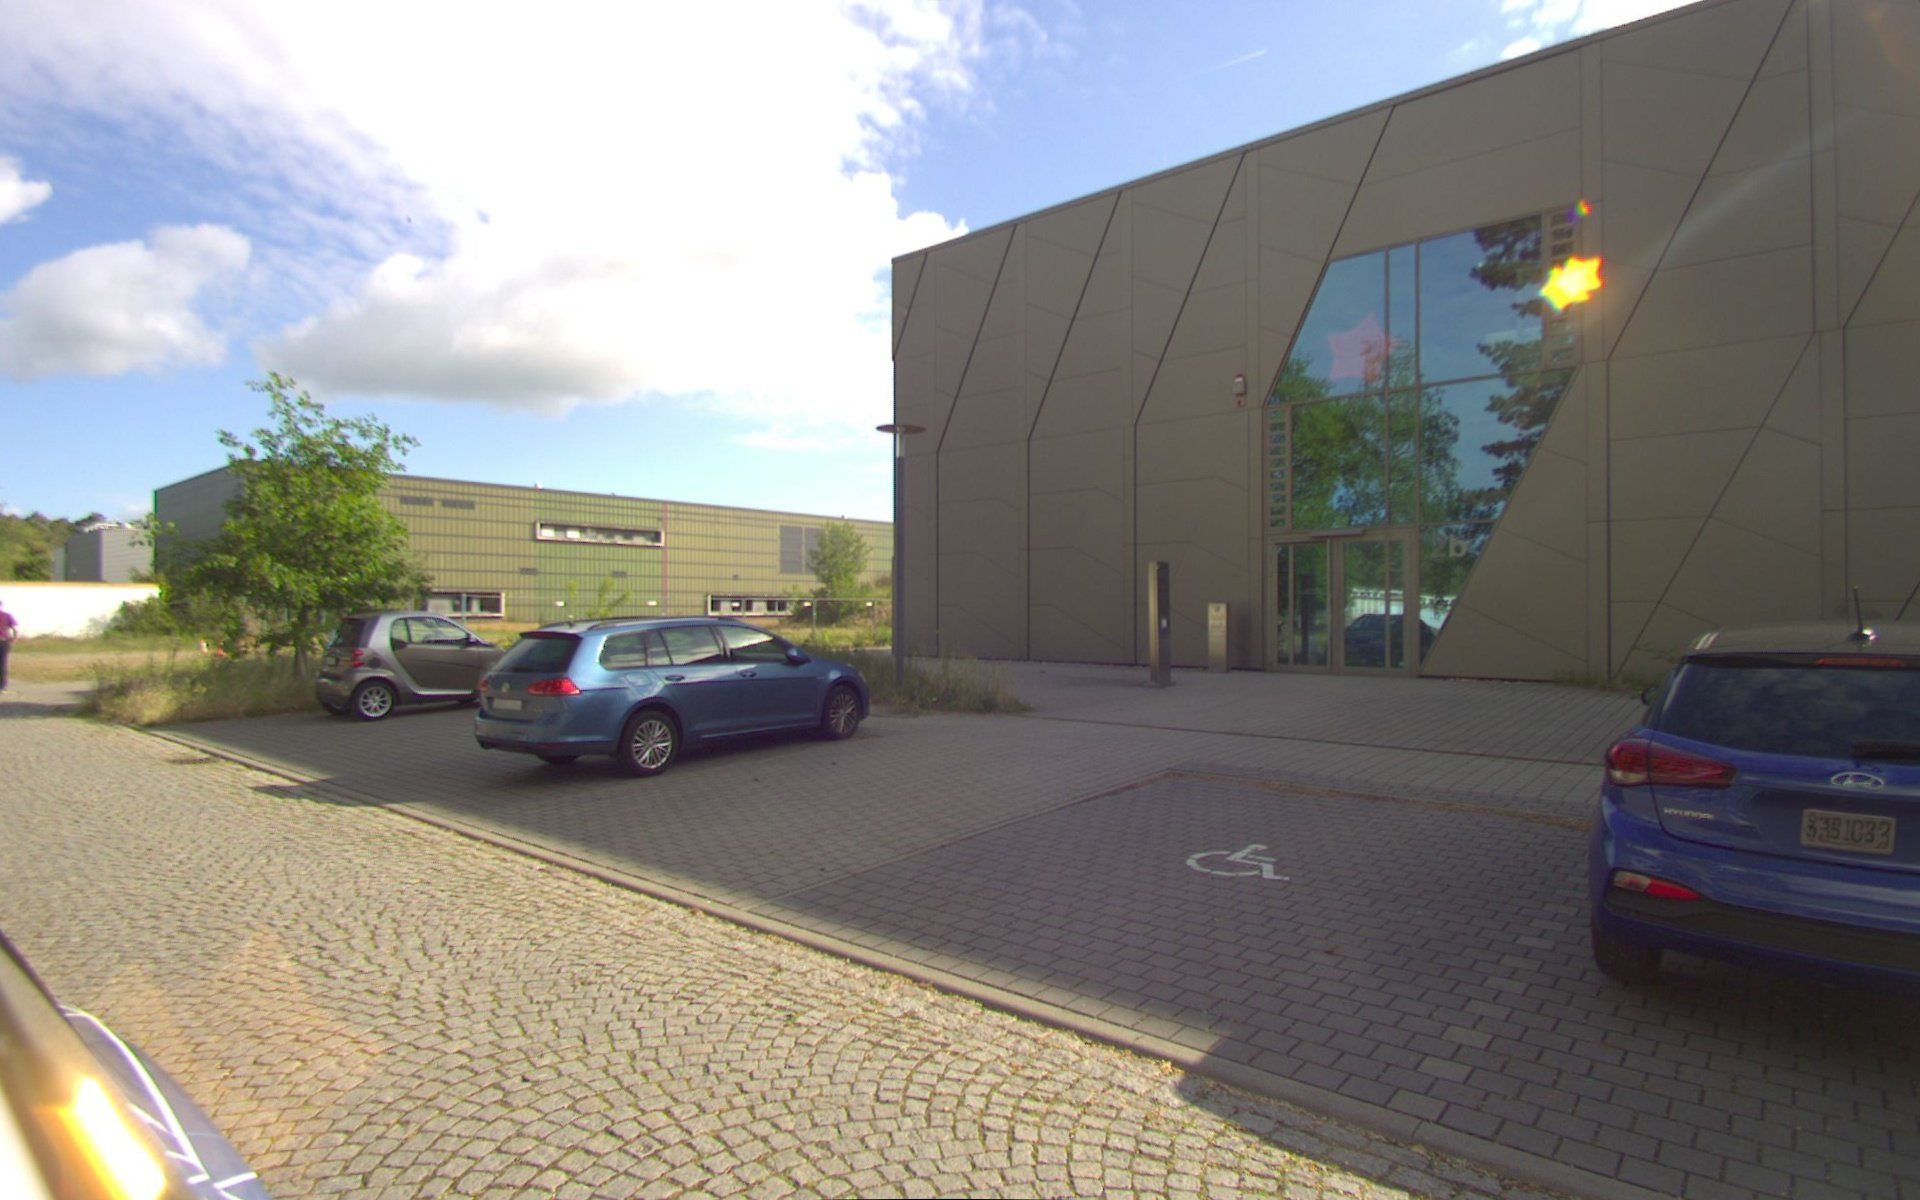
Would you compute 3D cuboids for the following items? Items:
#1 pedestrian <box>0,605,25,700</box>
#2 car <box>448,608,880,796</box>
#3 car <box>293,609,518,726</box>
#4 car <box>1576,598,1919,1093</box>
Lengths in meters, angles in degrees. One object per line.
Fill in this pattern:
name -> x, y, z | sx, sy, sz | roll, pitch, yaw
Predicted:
pedestrian -> -18.526, 0.993, 19.297 | 1.151, 1.785, 0.797 | -1, -1, 36
car -> -2.895, 0.886, 10.741 | 1.678, 1.475, 4.216 | -1, 0, 38
car -> -8.485, 0.952, 15.599 | 1.517, 1.554, 2.672 | -1, 1, 39
car -> 4.230, 0.767, 4.601 | 1.720, 1.475, 3.794 | -1, 1, 43
